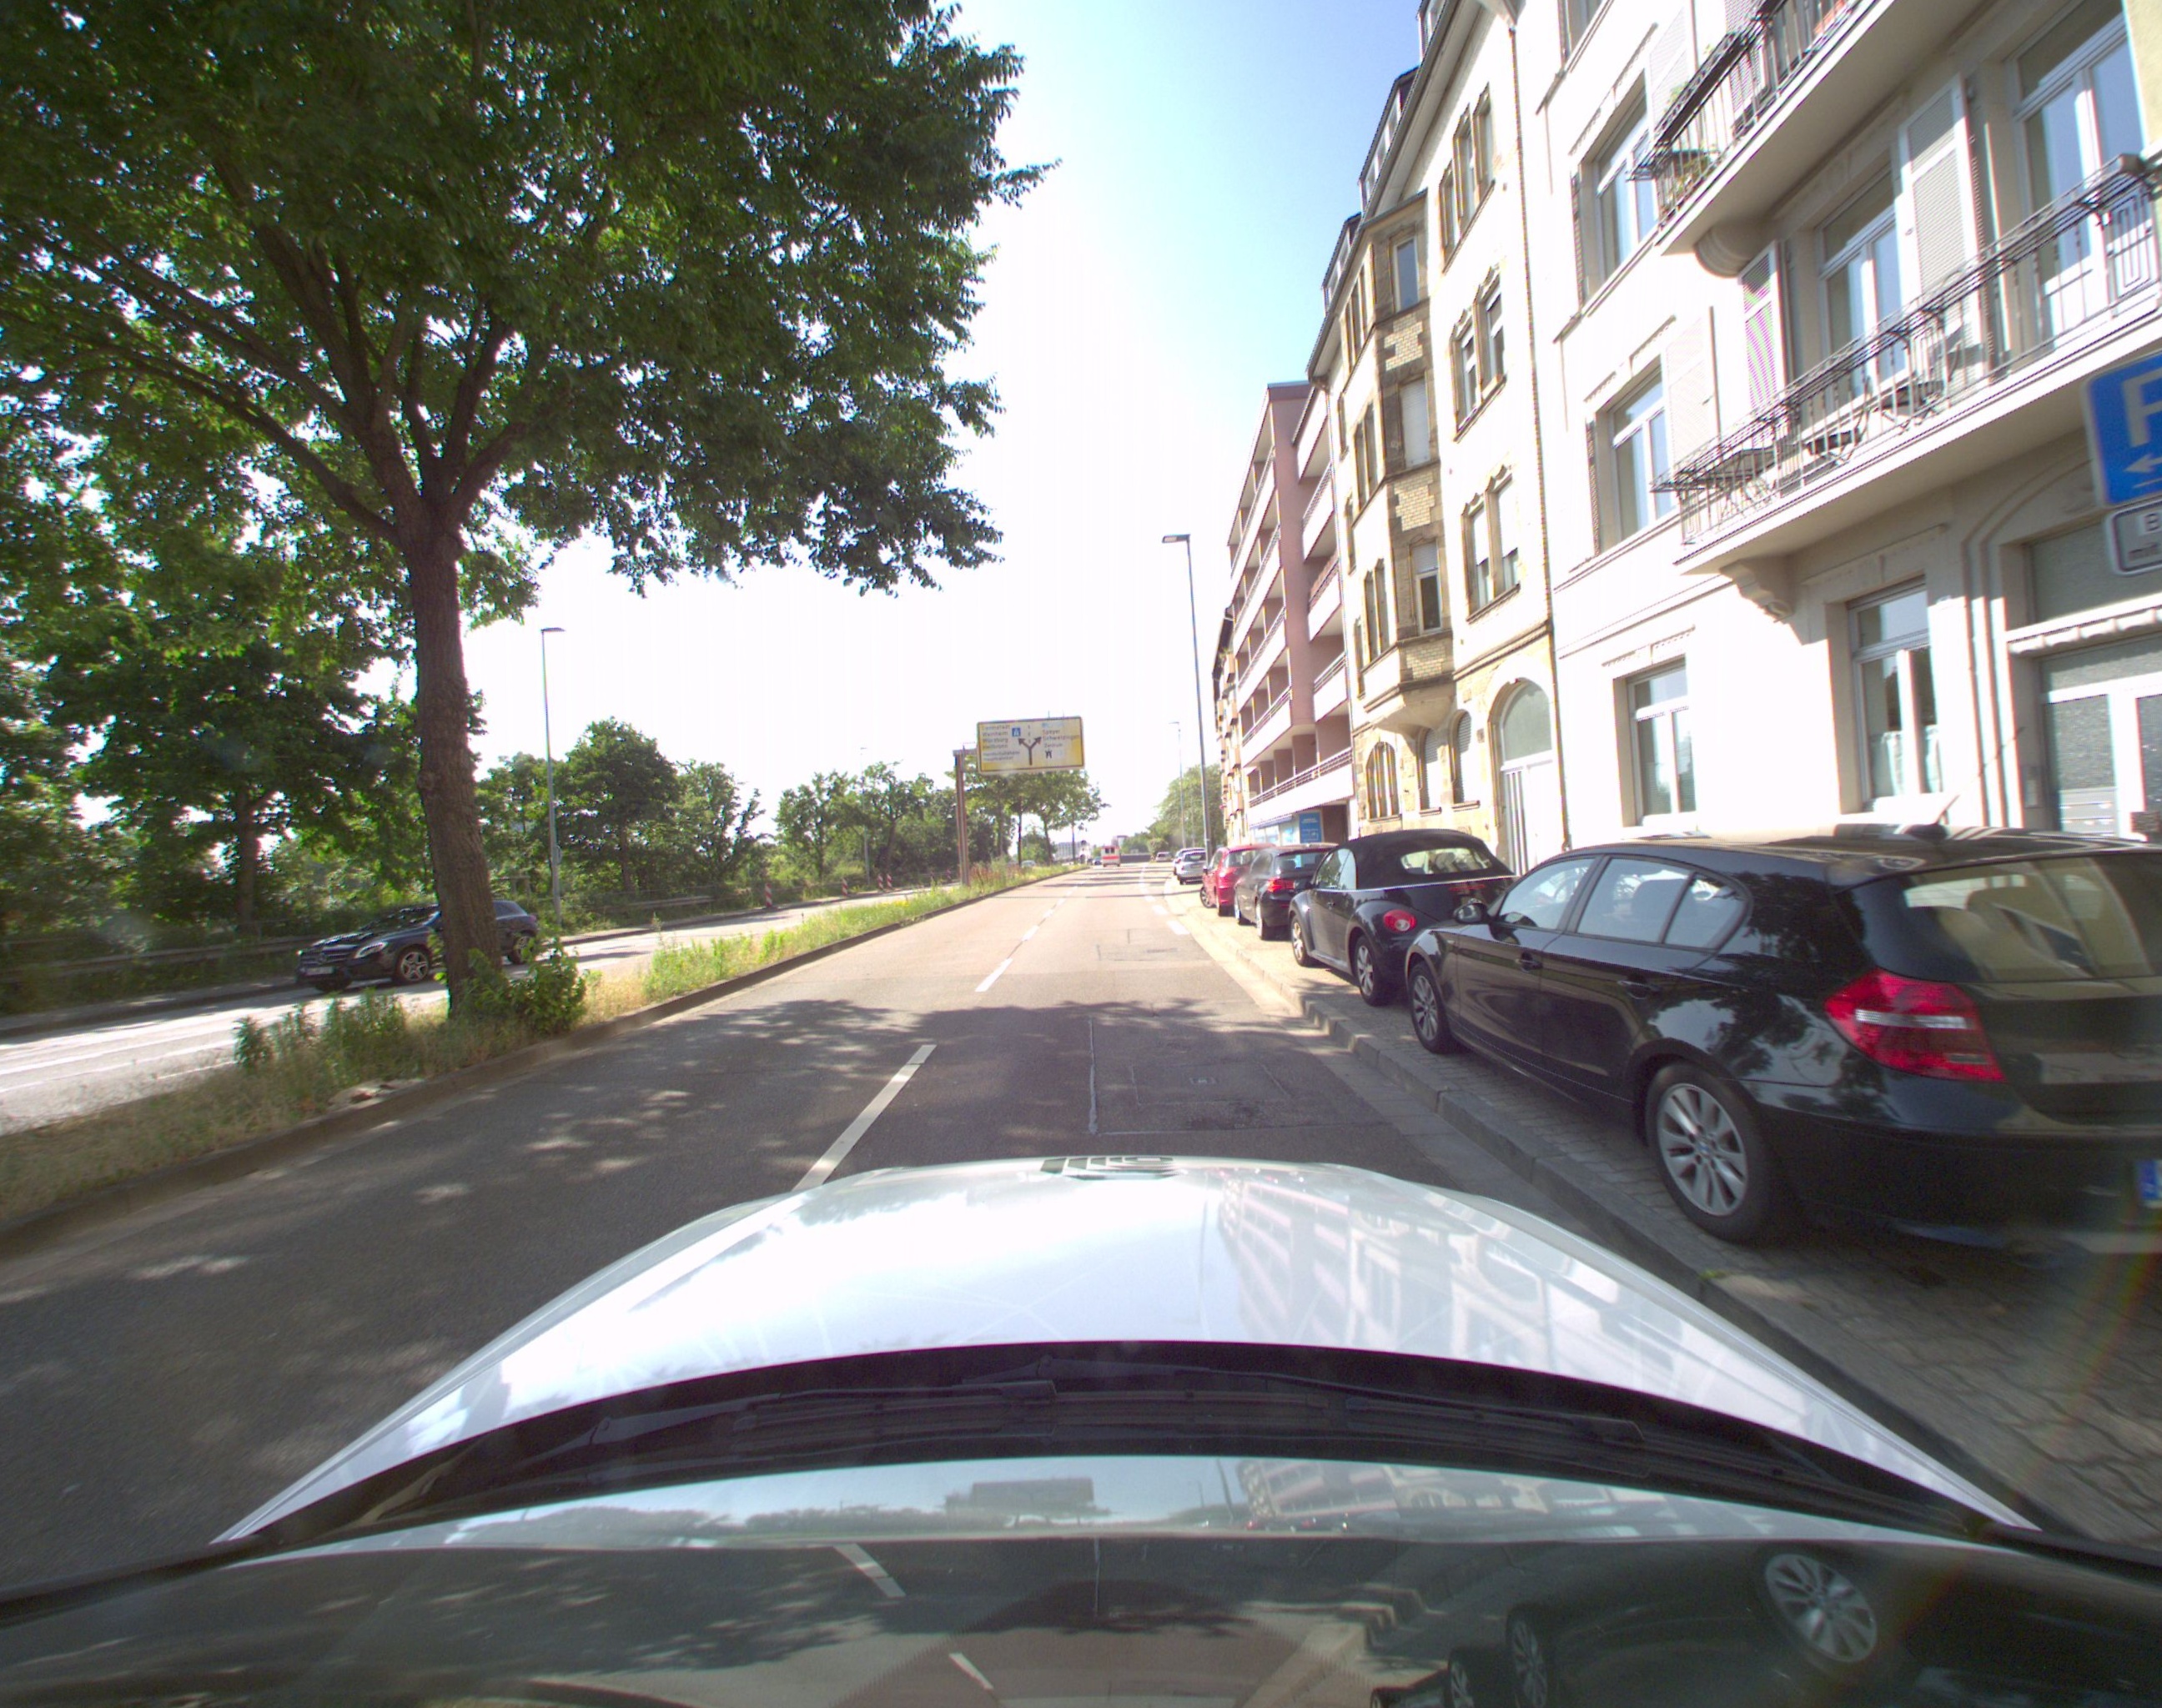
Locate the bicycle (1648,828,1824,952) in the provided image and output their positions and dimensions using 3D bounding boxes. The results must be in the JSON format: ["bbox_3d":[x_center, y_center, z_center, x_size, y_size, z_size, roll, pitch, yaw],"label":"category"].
[{"bbox_3d":[7.090,0.331,8.922,0.564,1.180,1.626,-5,2,0],"label":"bicycle"}]

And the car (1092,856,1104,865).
[{"bbox_3d":[2.968,1.111,140.239,1.790,1.530,4.003,-3,0,3],"label":"car"}]

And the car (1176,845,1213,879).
[{"bbox_3d":[5.777,0.407,41.849,1.727,1.541,4.362,-4,0,6],"label":"car"}]

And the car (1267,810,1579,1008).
[{"bbox_3d":[3.267,0.471,8.708,1.636,1.501,4.011,-5,-1,1],"label":"car"}]

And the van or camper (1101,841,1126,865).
[{"bbox_3d":[4.137,-0.147,101.971,2.282,2.789,5.587,-3,-1,10],"label":"van or camper"}]

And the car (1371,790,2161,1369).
[{"bbox_3d":[3.013,0.548,4.079,1.734,1.416,4.083,-4,-1,2],"label":"car"}]

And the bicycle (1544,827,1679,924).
[{"bbox_3d":[7.032,0.265,10.897,0.653,1.146,1.626,-5,0,0],"label":"bicycle"}]

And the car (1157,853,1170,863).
[{"bbox_3d":[12.467,0.567,122.934,1.609,1.505,3.472,-2,0,11],"label":"car"}]

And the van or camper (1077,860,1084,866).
[{"bbox_3d":[-0.139,2.384,215.012,1.460,1.350,4.636,-3,0,4],"label":"van or camper"}]

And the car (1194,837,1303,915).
[{"bbox_3d":[3.753,0.471,18.858,1.778,1.482,4.003,-5,-1,3],"label":"car"}]

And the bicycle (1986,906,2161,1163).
[{"bbox_3d":[4.210,0.682,2.755,0.446,0.891,1.580,-5,-1,-1],"label":"bicycle"}]

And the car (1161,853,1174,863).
[{"bbox_3d":[13.578,0.591,127.571,1.710,1.505,4.145,-1,0,11],"label":"car"}]

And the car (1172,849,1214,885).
[{"bbox_3d":[5.095,0.559,37.089,1.669,1.408,3.438,-5,0,7],"label":"car"}]

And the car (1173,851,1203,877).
[{"bbox_3d":[6.760,0.607,51.716,1.747,1.506,4.135,-2,-1,6],"label":"car"}]

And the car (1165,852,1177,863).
[{"bbox_3d":[14.681,0.549,132.983,1.762,1.579,4.195,-4,0,8],"label":"car"}]

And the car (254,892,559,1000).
[{"bbox_3d":[-13.337,1.731,16.622,1.985,1.528,4.703,-5,-1,4],"label":"car"}]

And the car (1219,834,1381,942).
[{"bbox_3d":[3.501,0.504,13.766,1.636,1.453,4.127,-4,-1,1],"label":"car"}]

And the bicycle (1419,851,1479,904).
[{"bbox_3d":[7.298,0.445,16.210,0.505,0.970,1.654,-4,-1,4],"label":"bicycle"}]
